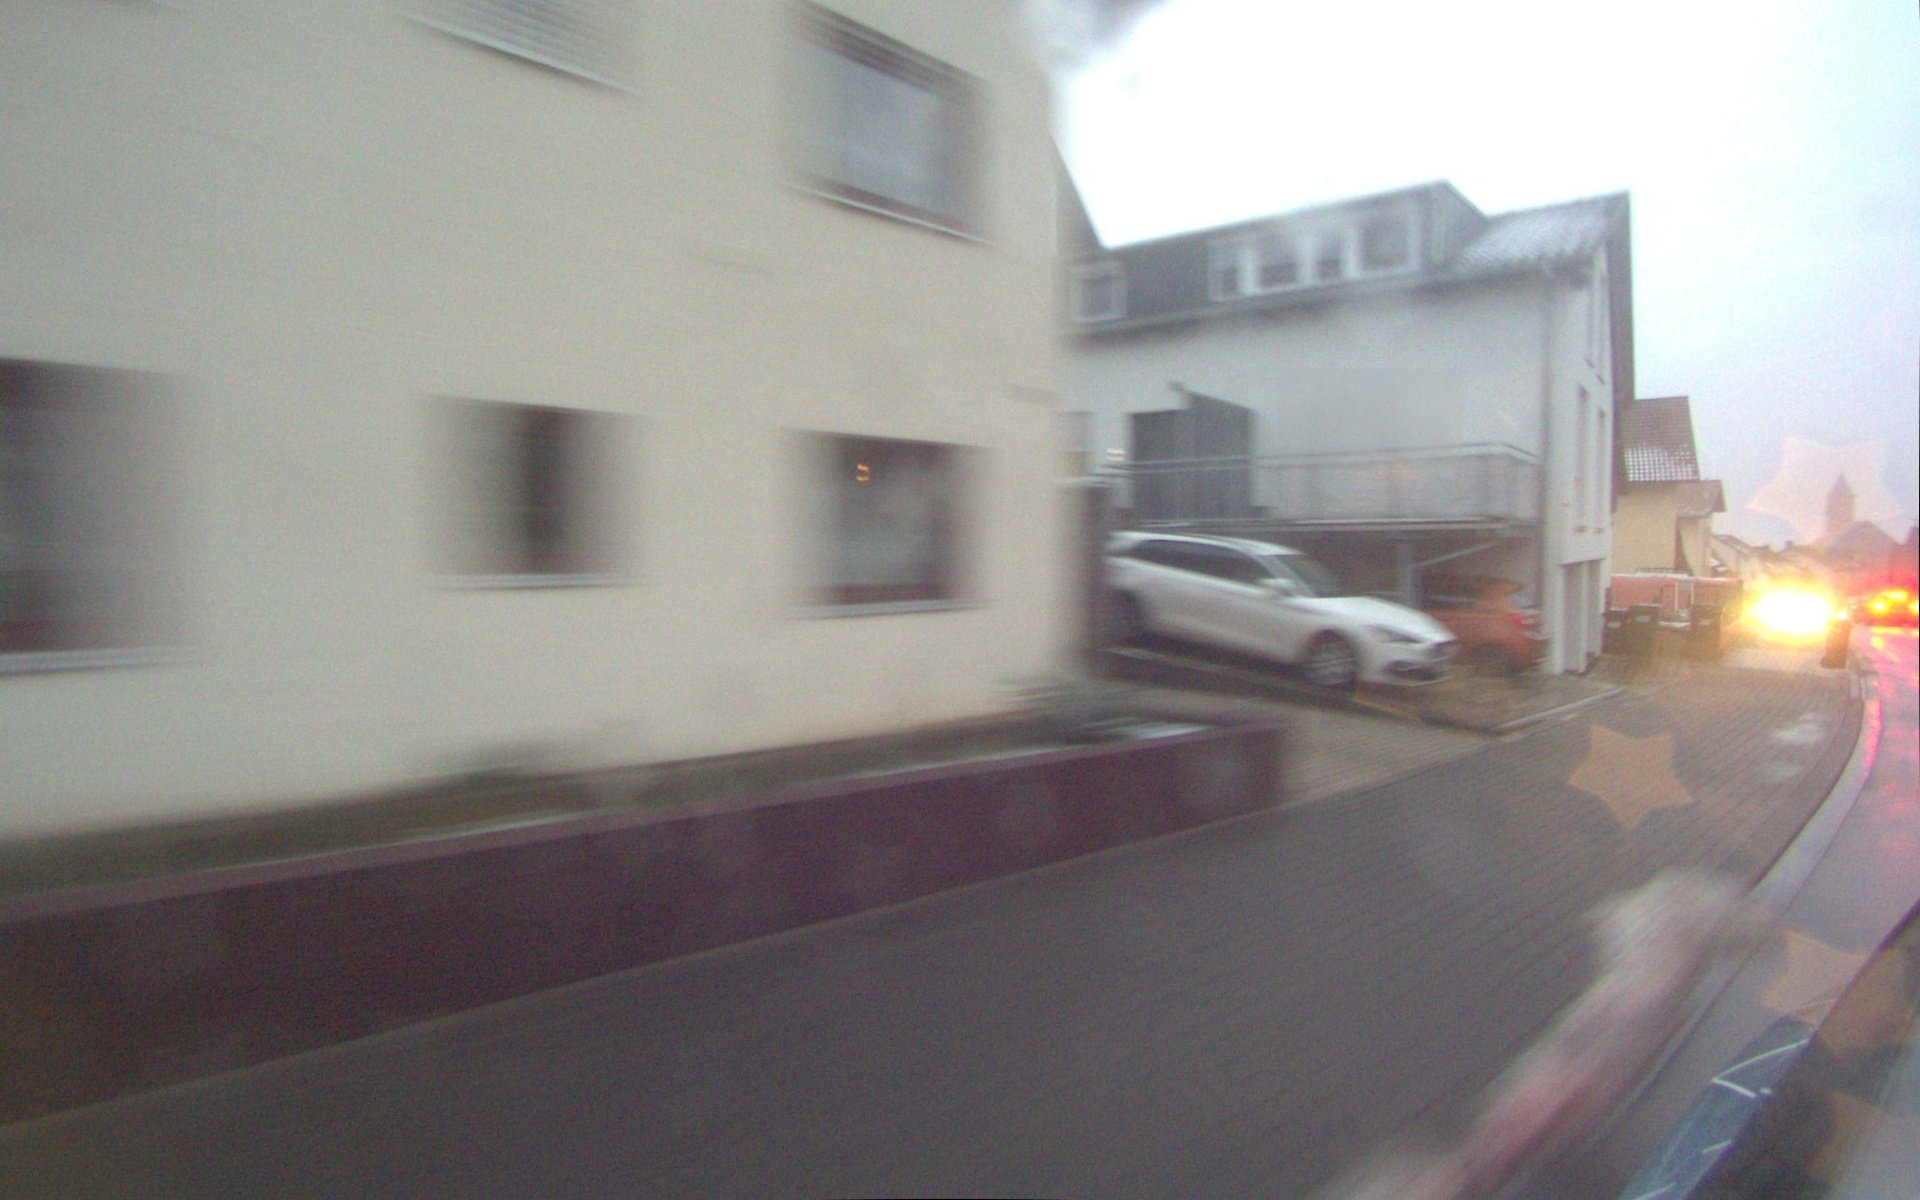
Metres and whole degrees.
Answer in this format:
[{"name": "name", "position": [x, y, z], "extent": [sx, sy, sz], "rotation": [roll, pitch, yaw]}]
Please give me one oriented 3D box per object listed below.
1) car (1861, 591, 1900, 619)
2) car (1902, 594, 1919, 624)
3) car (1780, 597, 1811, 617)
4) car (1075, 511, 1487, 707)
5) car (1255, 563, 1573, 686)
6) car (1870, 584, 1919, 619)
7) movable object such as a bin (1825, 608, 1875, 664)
[{"name": "car", "position": [65.033, 0.363, 71.550], "extent": [1.770, 1.814, 4.068], "rotation": [4, 1, 40]}, {"name": "car", "position": [48.907, 0.460, 50.806], "extent": [1.729, 1.462, 4.383], "rotation": [3, 2, 35]}, {"name": "car", "position": [70.195, 0.605, 85.013], "extent": [1.751, 1.514, 4.185], "rotation": [4, 2, 42]}, {"name": "car", "position": [3.688, -0.048, 12.199], "extent": [4.287, 1.472, 1.752], "rotation": [14, 10, 42]}, {"name": "car", "position": [6.630, 0.255, 14.987], "extent": [3.980, 1.475, 1.667], "rotation": [4, 3, 38]}, {"name": "car", "position": [43.834, 0.093, 46.908], "extent": [1.768, 1.514, 4.326], "rotation": [4, 2, 34]}, {"name": "movable object such as a bin", "position": [16.969, 0.673, 19.295], "extent": [0.614, 0.957, 0.586], "rotation": [7, 6, 43]}]
